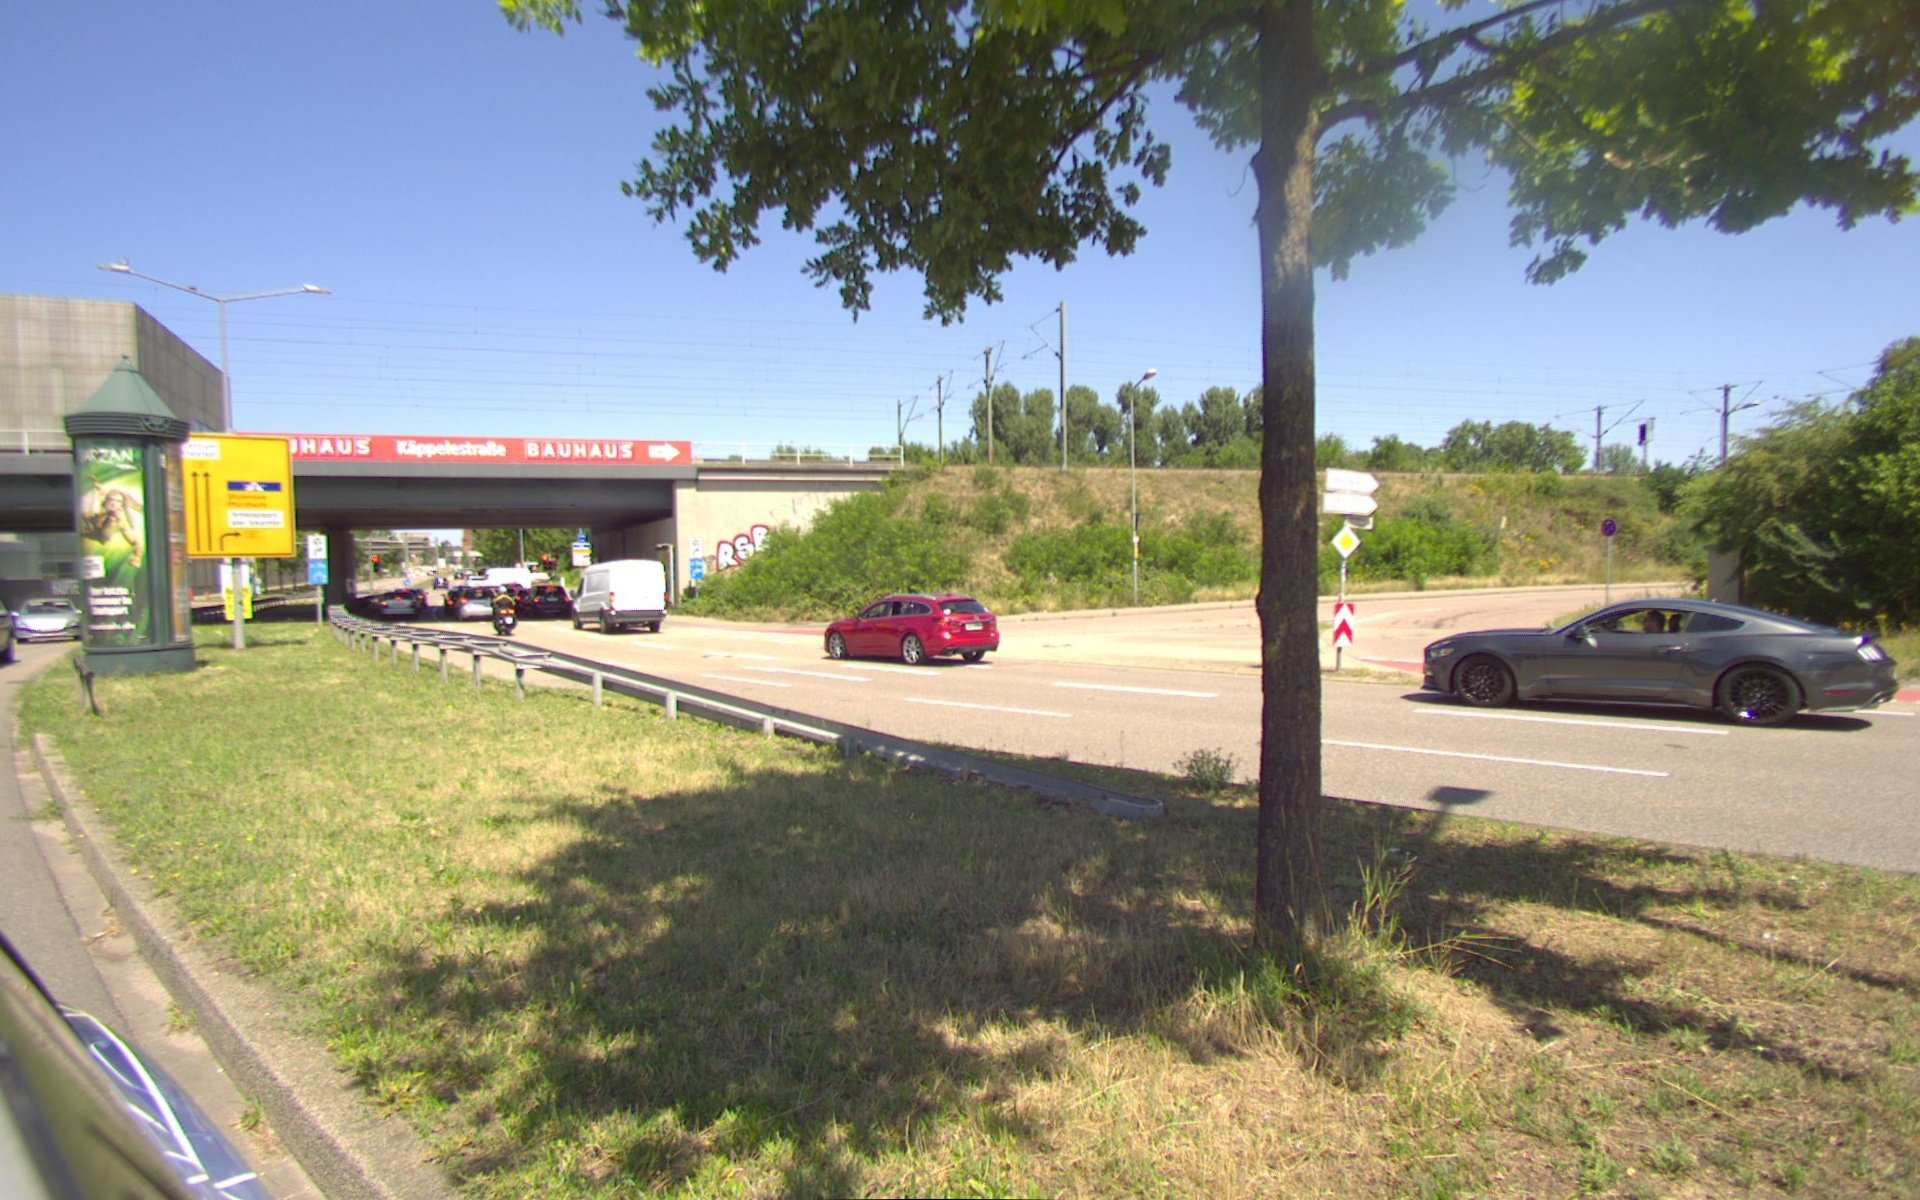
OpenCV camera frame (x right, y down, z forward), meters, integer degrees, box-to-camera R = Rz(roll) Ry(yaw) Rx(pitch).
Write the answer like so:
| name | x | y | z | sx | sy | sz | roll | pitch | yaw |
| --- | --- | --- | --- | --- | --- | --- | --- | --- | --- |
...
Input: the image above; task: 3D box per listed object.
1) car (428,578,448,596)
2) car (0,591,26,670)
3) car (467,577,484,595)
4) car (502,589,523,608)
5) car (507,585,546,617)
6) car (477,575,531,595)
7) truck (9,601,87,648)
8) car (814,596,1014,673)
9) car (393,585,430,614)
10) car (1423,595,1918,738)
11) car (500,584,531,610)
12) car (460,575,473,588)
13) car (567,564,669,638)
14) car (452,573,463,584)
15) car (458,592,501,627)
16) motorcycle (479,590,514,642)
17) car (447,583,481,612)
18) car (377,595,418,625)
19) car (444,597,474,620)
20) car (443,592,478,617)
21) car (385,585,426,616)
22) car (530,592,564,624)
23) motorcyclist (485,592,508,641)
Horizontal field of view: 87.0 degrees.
| name | x | y | z | sx | sy | sz | roll | pitch | yaw |
| --- | --- | --- | --- | --- | --- | --- | --- | --- | --- |
| car | -62.702 | -1.578 | 121.577 | 1.965 | 2.029 | 4.013 | -1 | 1 | -26 |
| car | -22.030 | 0.669 | 22.100 | 1.816 | 1.708 | 3.710 | -1 | 1 | -34 |
| car | -56.068 | -1.598 | 117.109 | 1.678 | 2.029 | 4.013 | -1 | 1 | -26 |
| car | -30.614 | -0.099 | 69.274 | 1.166 | 1.257 | 2.701 | -1 | 1 | -21 |
| car | -24.883 | 0.055 | 57.987 | 1.747 | 1.680 | 4.028 | -2 | 1 | -27 |
| car | -48.395 | -1.586 | 107.355 | 6.358 | 2.118 | 1.980 | 0 | 1 | 30 |
| truck | -32.185 | 0.819 | 35.789 | 1.704 | 1.513 | 4.009 | -1 | 1 | -37 |
| car | -1.093 | 0.654 | 21.817 | 1.809 | 1.448 | 4.531 | -2 | 1 | -42 |
| car | -36.443 | -0.047 | 67.308 | 1.875 | 1.874 | 4.013 | -1 | 1 | -24 |
| car | 8.169 | 0.627 | 11.971 | 4.571 | 1.343 | 1.789 | 0 | 1 | 45 |
| car | -27.697 | -0.199 | 63.149 | 1.548 | 1.514 | 3.418 | -1 | 1 | -21 |
| car | -81.542 | -3.036 | 167.241 | 1.809 | 2.029 | 4.013 | -1 | 1 | -27 |
| car | -12.737 | 0.091 | 37.359 | 2.066 | 2.519 | 5.824 | -1 | -1 | -34 |
| car | -95.015 | -4.039 | 191.354 | 1.809 | 2.029 | 4.013 | -1 | 1 | -27 |
| car | -22.500 | 0.431 | 47.474 | 1.611 | 1.579 | 4.086 | 0 | 0 | -23 |
| motorcycle | -15.817 | 0.514 | 34.500 | 0.590 | 1.691 | 2.431 | -1 | 1 | -36 |
| car | -33.379 | -0.197 | 68.165 | 1.875 | 1.874 | 4.013 | -1 | 1 | -24 |
| car | -27.708 | 0.486 | 49.948 | 1.611 | 1.413 | 4.235 | 0 | 0 | -27 |
| car | -28.087 | 0.466 | 56.773 | 1.250 | 1.194 | 2.787 | -1 | 1 | -21 |
| car | -30.683 | 0.253 | 62.209 | 1.593 | 1.487 | 3.444 | -1 | 1 | -21 |
| car | -34.320 | 0.004 | 62.738 | 1.875 | 1.874 | 4.013 | -1 | 1 | -24 |
| car | -20.905 | 0.366 | 51.220 | 1.493 | 1.553 | 3.692 | -1 | 1 | -23 |
| motorcyclist | -15.736 | 0.544 | 34.376 | 0.579 | 1.638 | 0.564 | -1 | 1 | -39 |
